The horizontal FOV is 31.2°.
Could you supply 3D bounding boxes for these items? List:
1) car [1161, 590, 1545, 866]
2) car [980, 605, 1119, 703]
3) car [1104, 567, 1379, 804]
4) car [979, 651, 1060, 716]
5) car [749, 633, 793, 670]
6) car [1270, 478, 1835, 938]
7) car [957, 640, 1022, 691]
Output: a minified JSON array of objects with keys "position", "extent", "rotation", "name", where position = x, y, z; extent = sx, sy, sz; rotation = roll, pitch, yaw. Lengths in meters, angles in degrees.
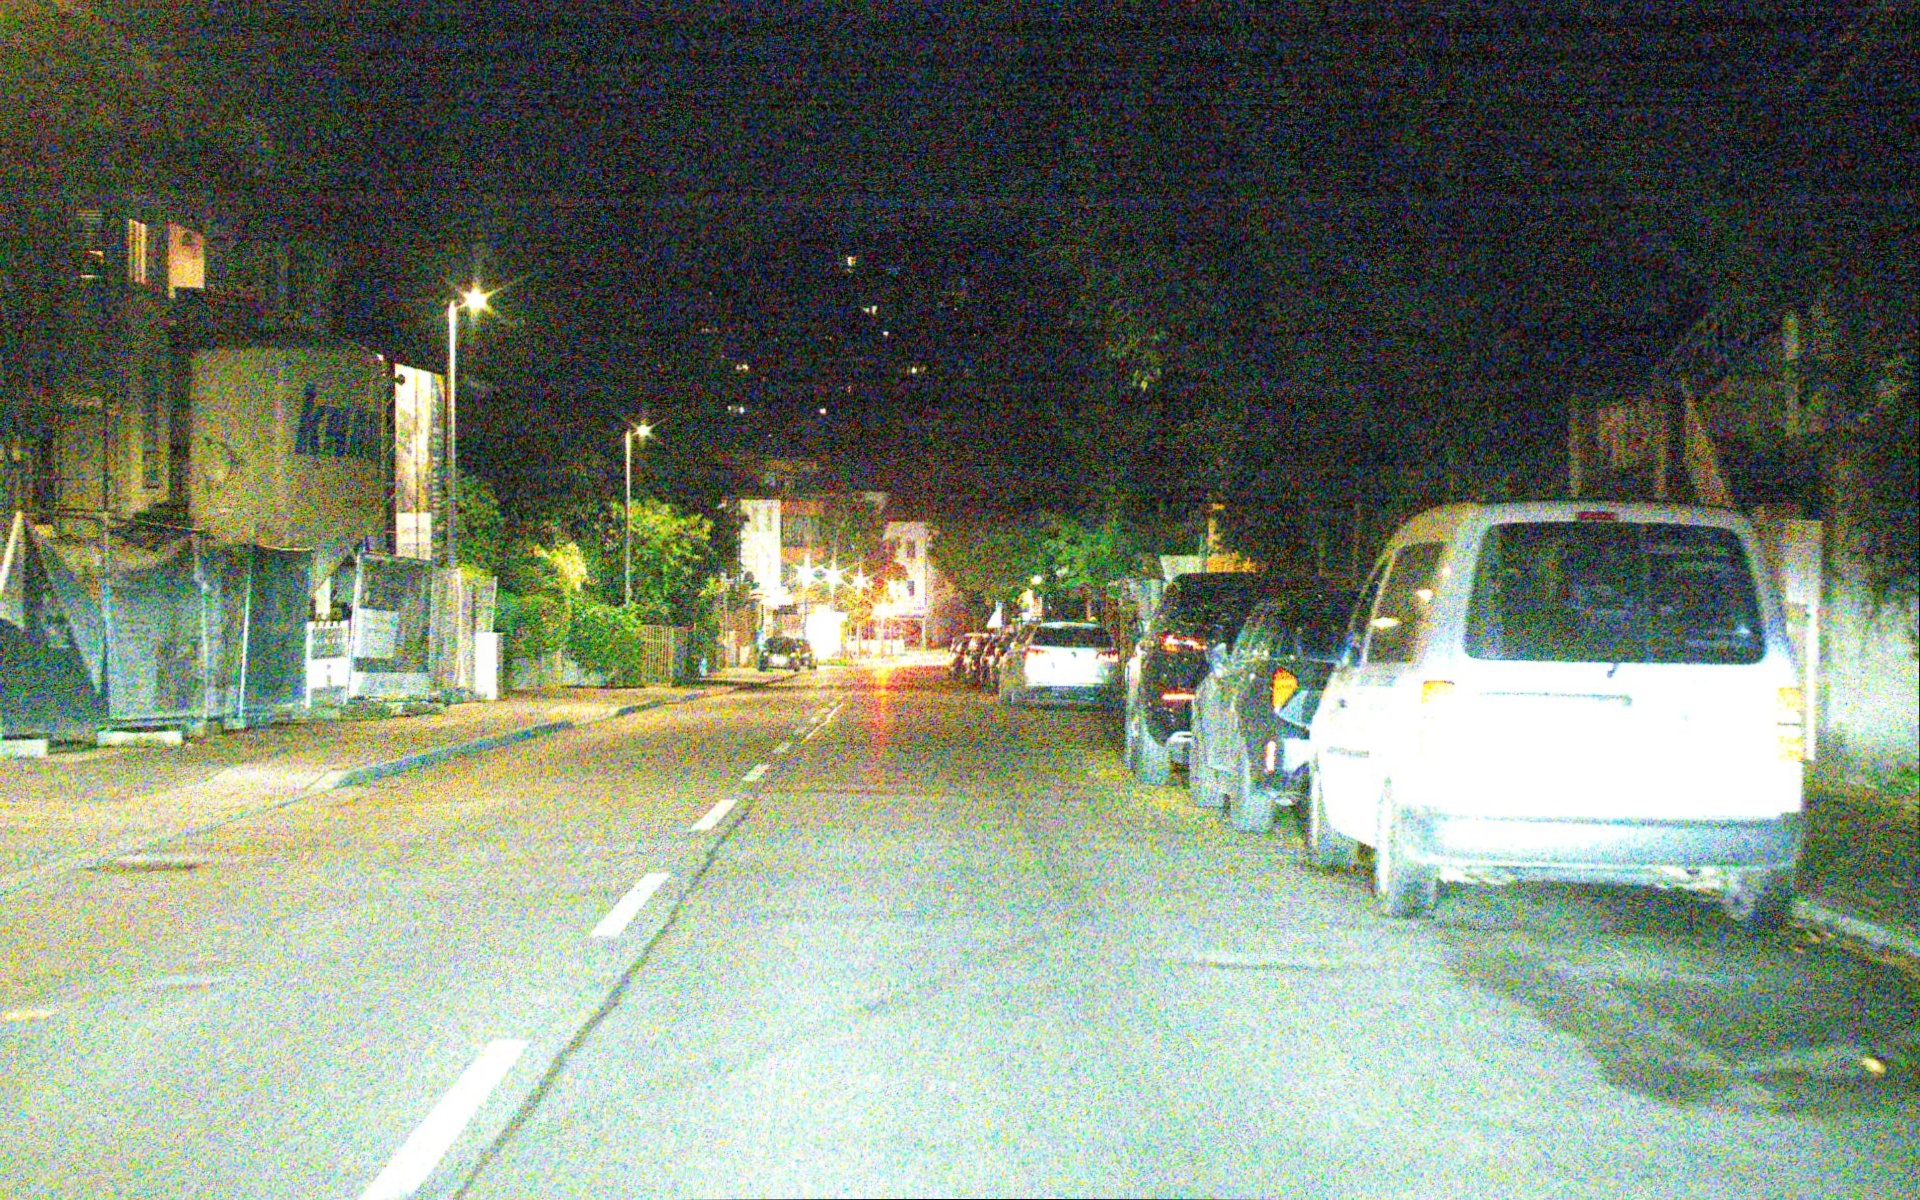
[{"position":[2.337,0.721,21.489],"extent":[1.743,1.466,4.257],"rotation":[3,0,-1],"name":"car"},{"position":[1.437,0.878,56.672],"extent":[1.763,1.471,4.276],"rotation":[3,-1,-5],"name":"car"},{"position":[2.129,0.644,27.112],"extent":[1.832,1.658,4.618],"rotation":[2,-1,1],"name":"car"},{"position":[1.366,1.922,79.981],"extent":[1.629,1.434,3.864],"rotation":[2,-1,-2],"name":"car"},{"position":[-8.060,2.185,146.434],"extent":[1.753,1.534,3.731],"rotation":[1,-1,-4],"name":"car"},{"position":[2.561,0.414,15.997],"extent":[1.718,1.755,4.758],"rotation":[2,0,0],"name":"car"},{"position":[0.870,1.985,104.480],"extent":[1.682,1.444,4.000],"rotation":[2,-1,-3],"name":"car"}]
